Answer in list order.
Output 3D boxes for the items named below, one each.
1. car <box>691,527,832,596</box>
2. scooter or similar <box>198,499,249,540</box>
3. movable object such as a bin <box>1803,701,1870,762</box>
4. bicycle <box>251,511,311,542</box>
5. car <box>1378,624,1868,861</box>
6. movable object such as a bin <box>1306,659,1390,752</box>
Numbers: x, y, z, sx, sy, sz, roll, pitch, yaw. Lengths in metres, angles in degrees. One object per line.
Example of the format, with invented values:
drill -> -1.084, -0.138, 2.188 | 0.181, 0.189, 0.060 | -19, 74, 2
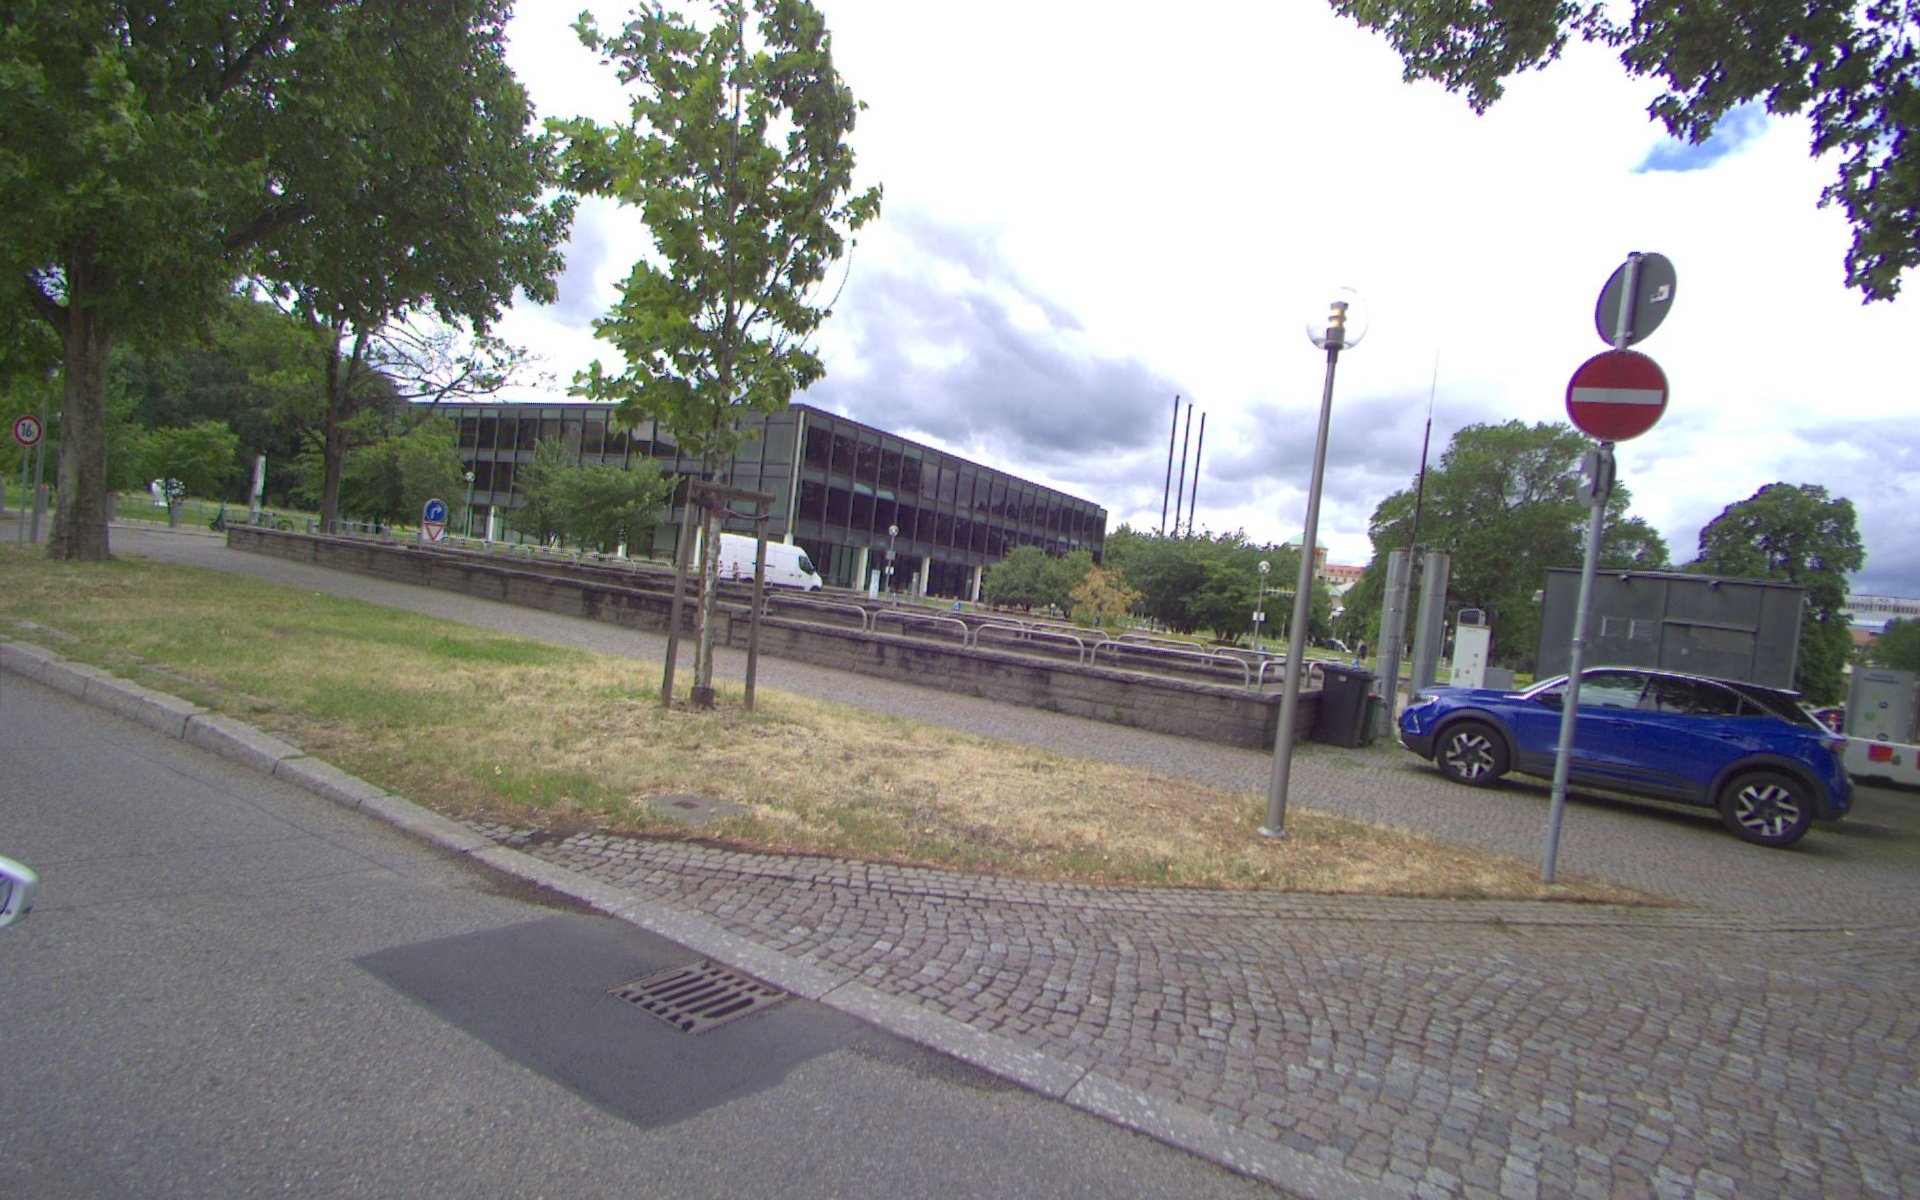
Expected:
car -> -8.736, -1.644, 44.909 | 2.363, 2.289, 6.111 | 7, 0, 34
scooter or similar -> -25.869, -2.827, 35.325 | 2.190, 1.260, 0.636 | 6, -1, 35
movable object such as a bin -> 25.326, 3.780, 29.111 | 1.134, 1.516, 1.409 | 7, 1, 34
bicycle -> -28.274, -3.073, 41.851 | 2.741, 0.986, 0.956 | 6, -2, 32
car -> 6.927, 1.379, 10.932 | 3.961, 1.572, 1.761 | 10, 2, 35
movable object such as a bin -> 5.252, 1.401, 13.591 | 0.757, 1.078, 1.009 | 11, 3, 29
